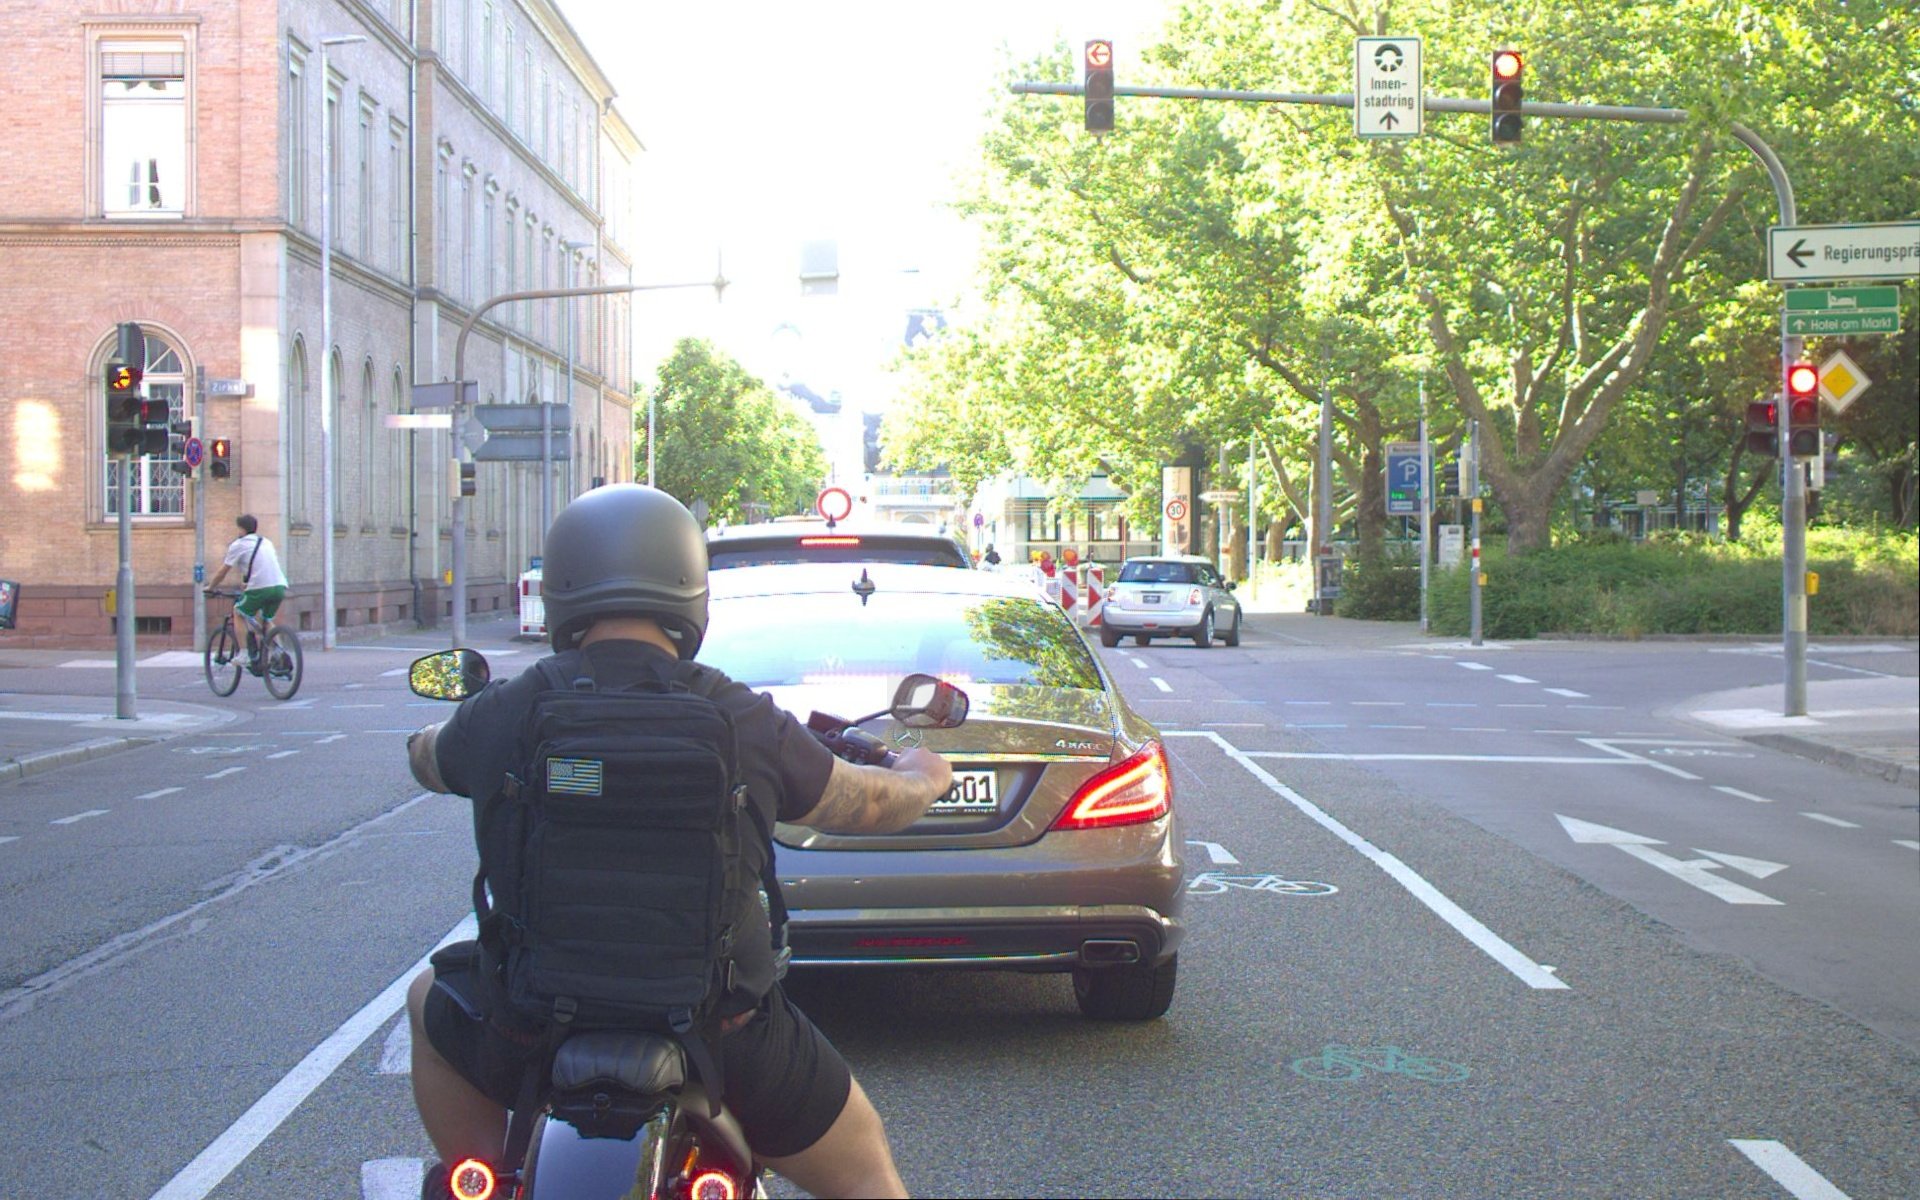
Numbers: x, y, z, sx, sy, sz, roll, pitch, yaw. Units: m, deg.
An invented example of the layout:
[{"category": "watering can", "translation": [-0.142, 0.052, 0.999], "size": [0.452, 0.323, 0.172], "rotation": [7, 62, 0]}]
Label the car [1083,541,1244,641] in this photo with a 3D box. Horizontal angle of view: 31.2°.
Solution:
[{"category": "car", "translation": [3.234, -0.165, 53.907], "size": [1.822, 1.475, 3.906], "rotation": [-1, 1, 14]}]

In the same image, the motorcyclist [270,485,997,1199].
[{"category": "motorcyclist", "translation": [-0.452, 0.626, 5.394], "size": [0.989, 1.591, 1.404], "rotation": [0, 1, -1]}]

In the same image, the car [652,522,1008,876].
[{"category": "car", "translation": [-0.638, 0.409, 17.754], "size": [1.612, 1.602, 4.329], "rotation": [0, 1, -1]}]

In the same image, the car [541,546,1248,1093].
[{"category": "car", "translation": [-0.431, 0.559, 11.588], "size": [1.945, 1.468, 4.363], "rotation": [0, 1, -7]}]

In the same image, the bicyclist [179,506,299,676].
[{"category": "bicyclist", "translation": [-7.294, -0.097, 34.775], "size": [0.963, 1.687, 0.704], "rotation": [0, 1, 31]}]

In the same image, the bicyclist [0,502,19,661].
[{"category": "bicyclist", "translation": [-10.715, -0.193, 36.741], "size": [1.046, 1.689, 0.704], "rotation": [-1, 0, 25]}]

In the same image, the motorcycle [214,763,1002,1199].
[{"category": "motorcycle", "translation": [-0.456, 0.881, 5.552], "size": [0.989, 1.075, 2.452], "rotation": [0, 1, -1]}]

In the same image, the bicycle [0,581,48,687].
[{"category": "bicycle", "translation": [-10.848, 0.369, 36.793], "size": [2.159, 1.099, 0.704], "rotation": [-1, 0, 26]}]

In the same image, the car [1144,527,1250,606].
[{"category": "car", "translation": [4.598, -0.653, 67.200], "size": [1.856, 1.481, 3.908], "rotation": [1, 1, 1]}]

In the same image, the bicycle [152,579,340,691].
[{"category": "bicycle", "translation": [-7.221, 0.341, 34.741], "size": [1.877, 1.099, 0.704], "rotation": [0, 1, 31]}]
